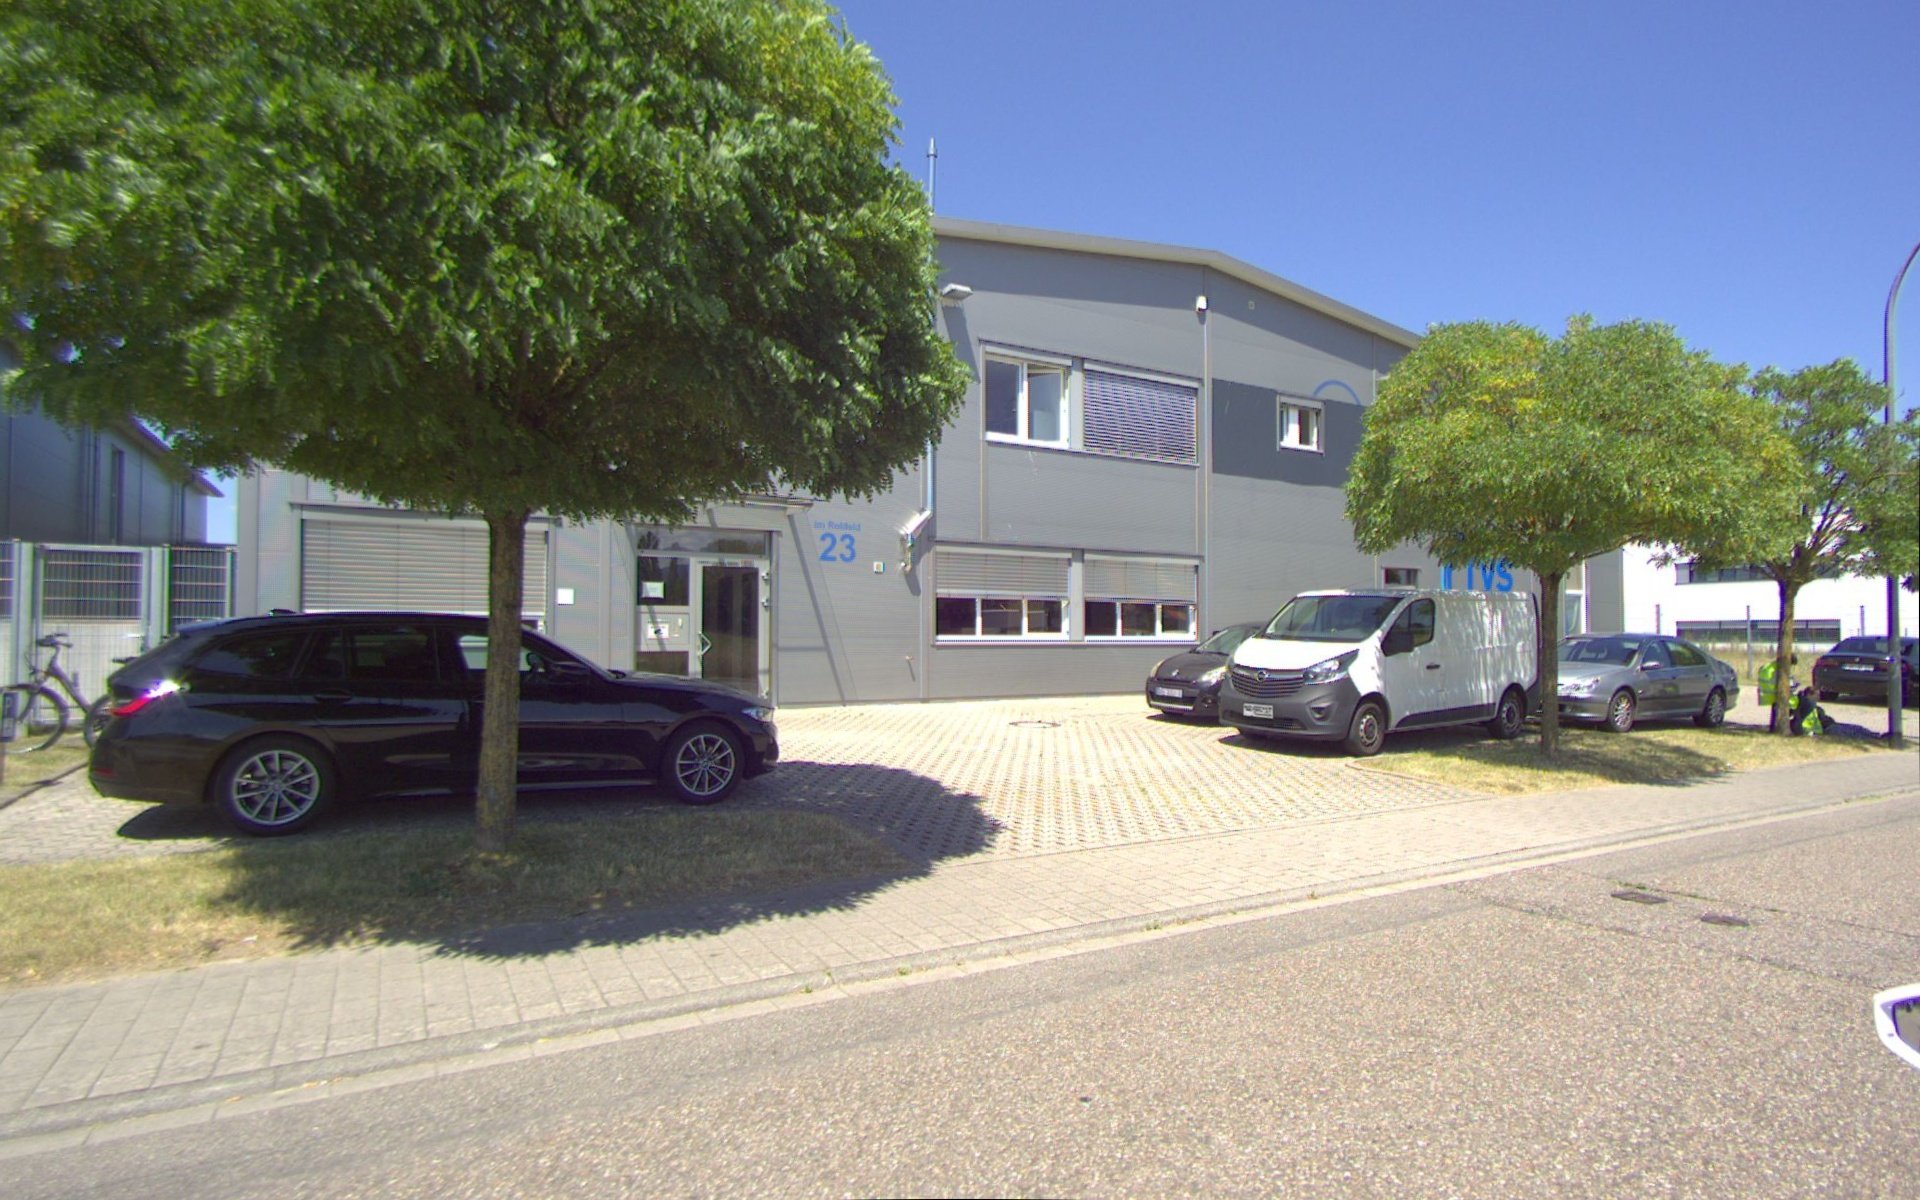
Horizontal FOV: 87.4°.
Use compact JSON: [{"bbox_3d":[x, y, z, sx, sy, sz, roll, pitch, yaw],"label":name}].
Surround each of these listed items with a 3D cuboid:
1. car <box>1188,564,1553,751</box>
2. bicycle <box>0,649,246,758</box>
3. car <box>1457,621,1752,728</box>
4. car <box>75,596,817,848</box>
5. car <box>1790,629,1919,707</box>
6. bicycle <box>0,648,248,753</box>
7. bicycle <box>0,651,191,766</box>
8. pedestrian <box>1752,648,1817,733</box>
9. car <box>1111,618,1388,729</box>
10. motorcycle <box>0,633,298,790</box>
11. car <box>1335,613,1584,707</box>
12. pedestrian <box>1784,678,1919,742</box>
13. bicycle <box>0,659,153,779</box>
[{"bbox_3d":[5.484,0.660,13.151,5.070,2.046,1.827,1,0,-33],"label":"car"},{"bbox_3d":[-8.463,1.010,10.107,2.041,0.991,0.433,1,0,-32],"label":"bicycle"},{"bbox_3d":[10.188,1.150,15.815,4.783,1.459,1.918,3,-3,-30],"label":"car"},{"bbox_3d":[-3.633,0.752,7.871,4.659,1.473,1.757,1,0,-30],"label":"car"},{"bbox_3d":[20.495,1.429,22.198,4.639,1.484,1.916,1,0,-32],"label":"car"},{"bbox_3d":[-8.759,1.025,10.553,2.041,0.991,0.433,1,0,-32],"label":"bicycle"},{"bbox_3d":[-8.235,0.992,9.341,1.678,0.991,0.349,1,0,-32],"label":"bicycle"},{"bbox_3d":[11.967,1.306,14.585,0.547,1.165,0.478,4,0,-20],"label":"pedestrian"},{"bbox_3d":[4.528,1.053,15.583,4.041,1.460,1.916,1,0,-32],"label":"car"},{"bbox_3d":[-6.748,0.873,8.340,2.058,1.178,0.512,1,0,-32],"label":"motorcycle"},{"bbox_3d":[9.109,1.030,18.270,4.411,1.484,1.918,1,0,-30],"label":"car"},{"bbox_3d":[13.072,1.592,14.717,0.743,0.759,1.353,1,1,-27],"label":"pedestrian"},{"bbox_3d":[-8.202,1.038,8.836,1.678,0.991,0.349,1,0,-32],"label":"bicycle"}]
